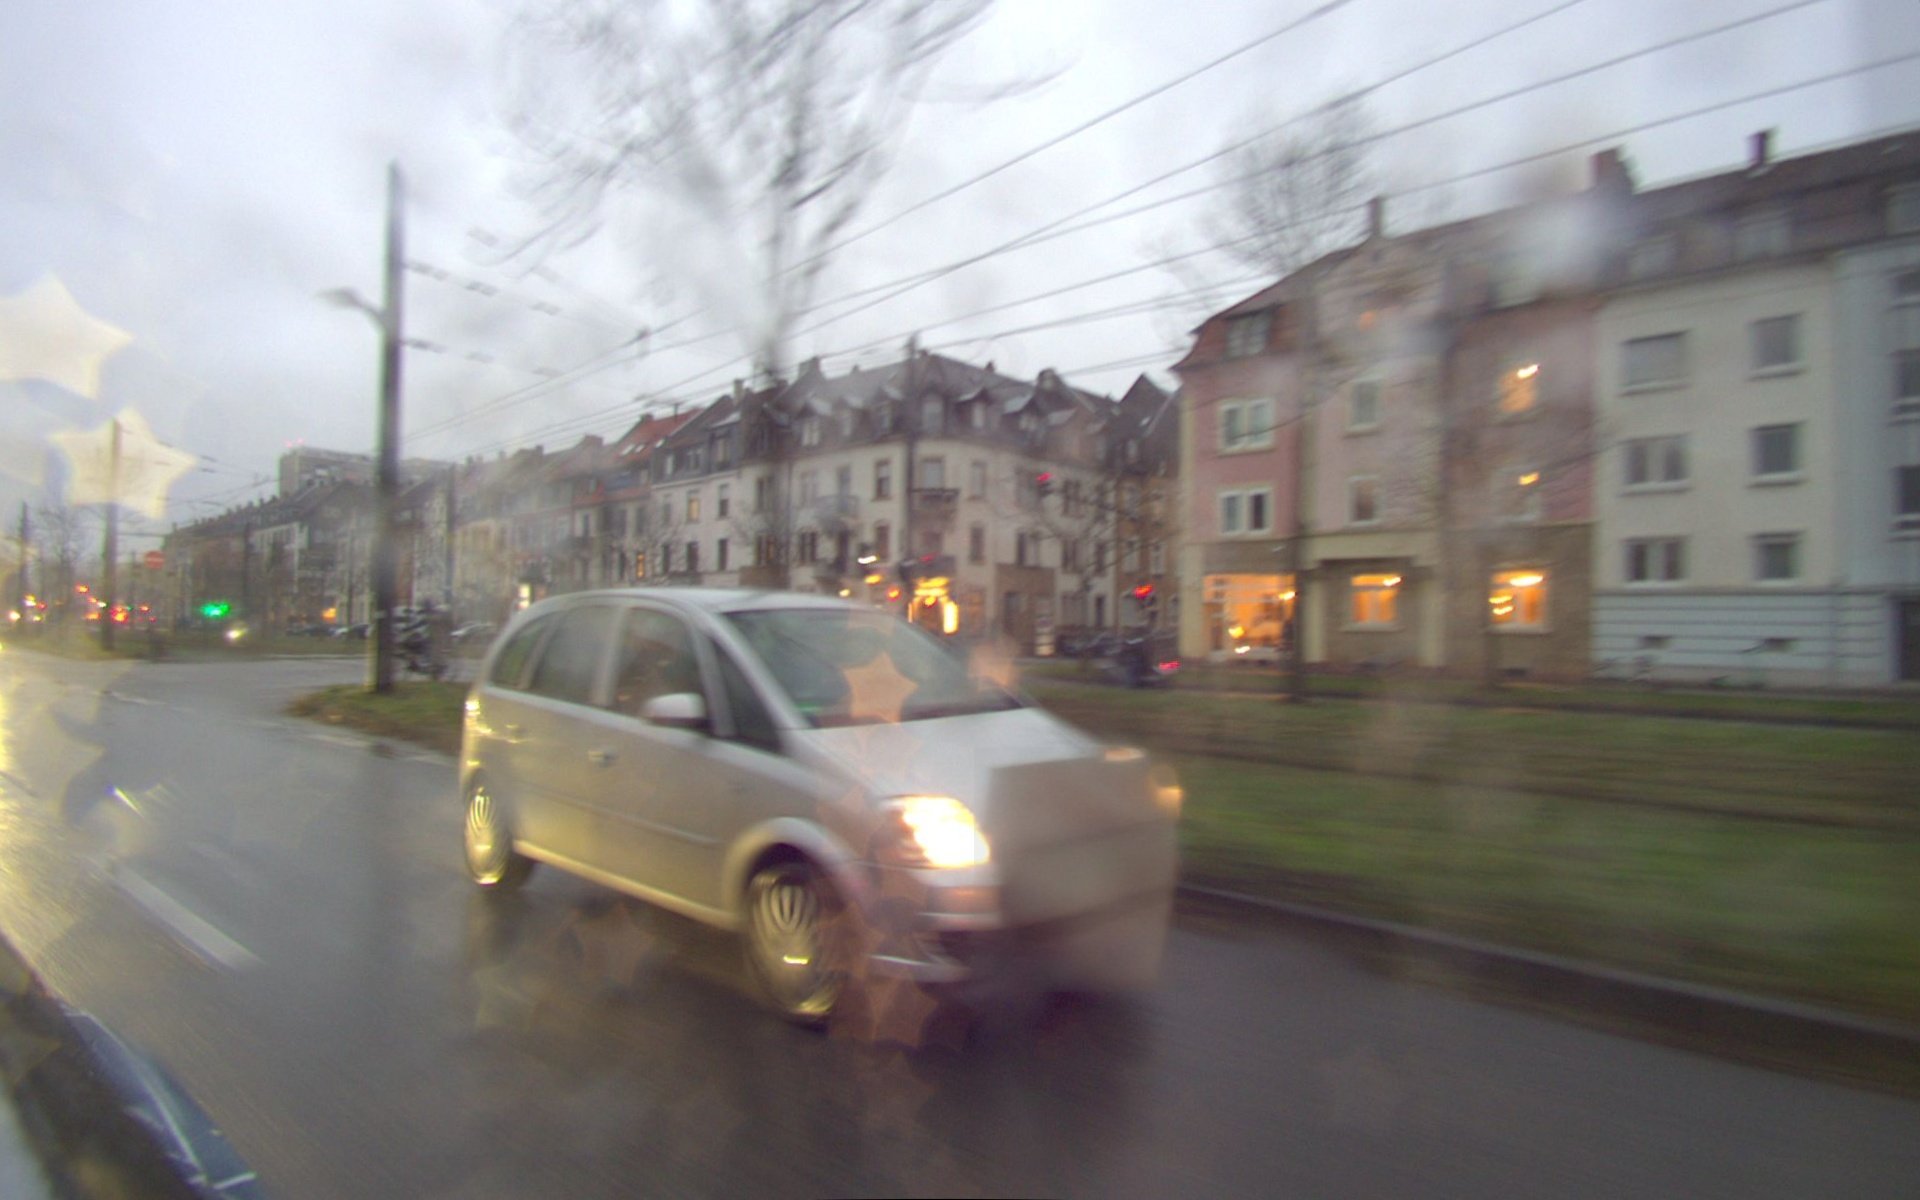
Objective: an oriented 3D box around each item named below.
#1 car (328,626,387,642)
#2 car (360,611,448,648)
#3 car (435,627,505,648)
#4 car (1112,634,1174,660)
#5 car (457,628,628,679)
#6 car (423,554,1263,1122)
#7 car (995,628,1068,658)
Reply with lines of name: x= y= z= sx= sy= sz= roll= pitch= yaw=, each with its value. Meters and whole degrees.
car: x=-52.316 y=2.978 z=87.938 sx=3.934 sy=1.342 sz=2.005 roll=1 pitch=-2 yaw=-12
car: x=-44.297 y=2.377 z=80.682 sx=5.778 sy=2.819 sz=2.002 roll=1 pitch=-2 yaw=-5
car: x=-33.617 y=2.599 z=69.525 sx=3.936 sy=1.342 sz=2.004 roll=1 pitch=-2 yaw=-9
car: x=10.921 y=2.776 z=60.194 sx=1.794 sy=1.497 sz=3.944 roll=-1 pitch=-3 yaw=42
car: x=-12.744 y=1.610 z=31.230 sx=4.743 sy=1.441 sz=1.821 roll=0 pitch=-1 yaw=-18
car: x=-0.834 y=0.704 z=4.899 sx=4.051 sy=1.612 sz=1.790 roll=-1 pitch=-1 yaw=41
car: x=3.794 y=2.253 z=53.052 sx=1.794 sy=1.497 sz=3.944 roll=-1 pitch=-3 yaw=42
